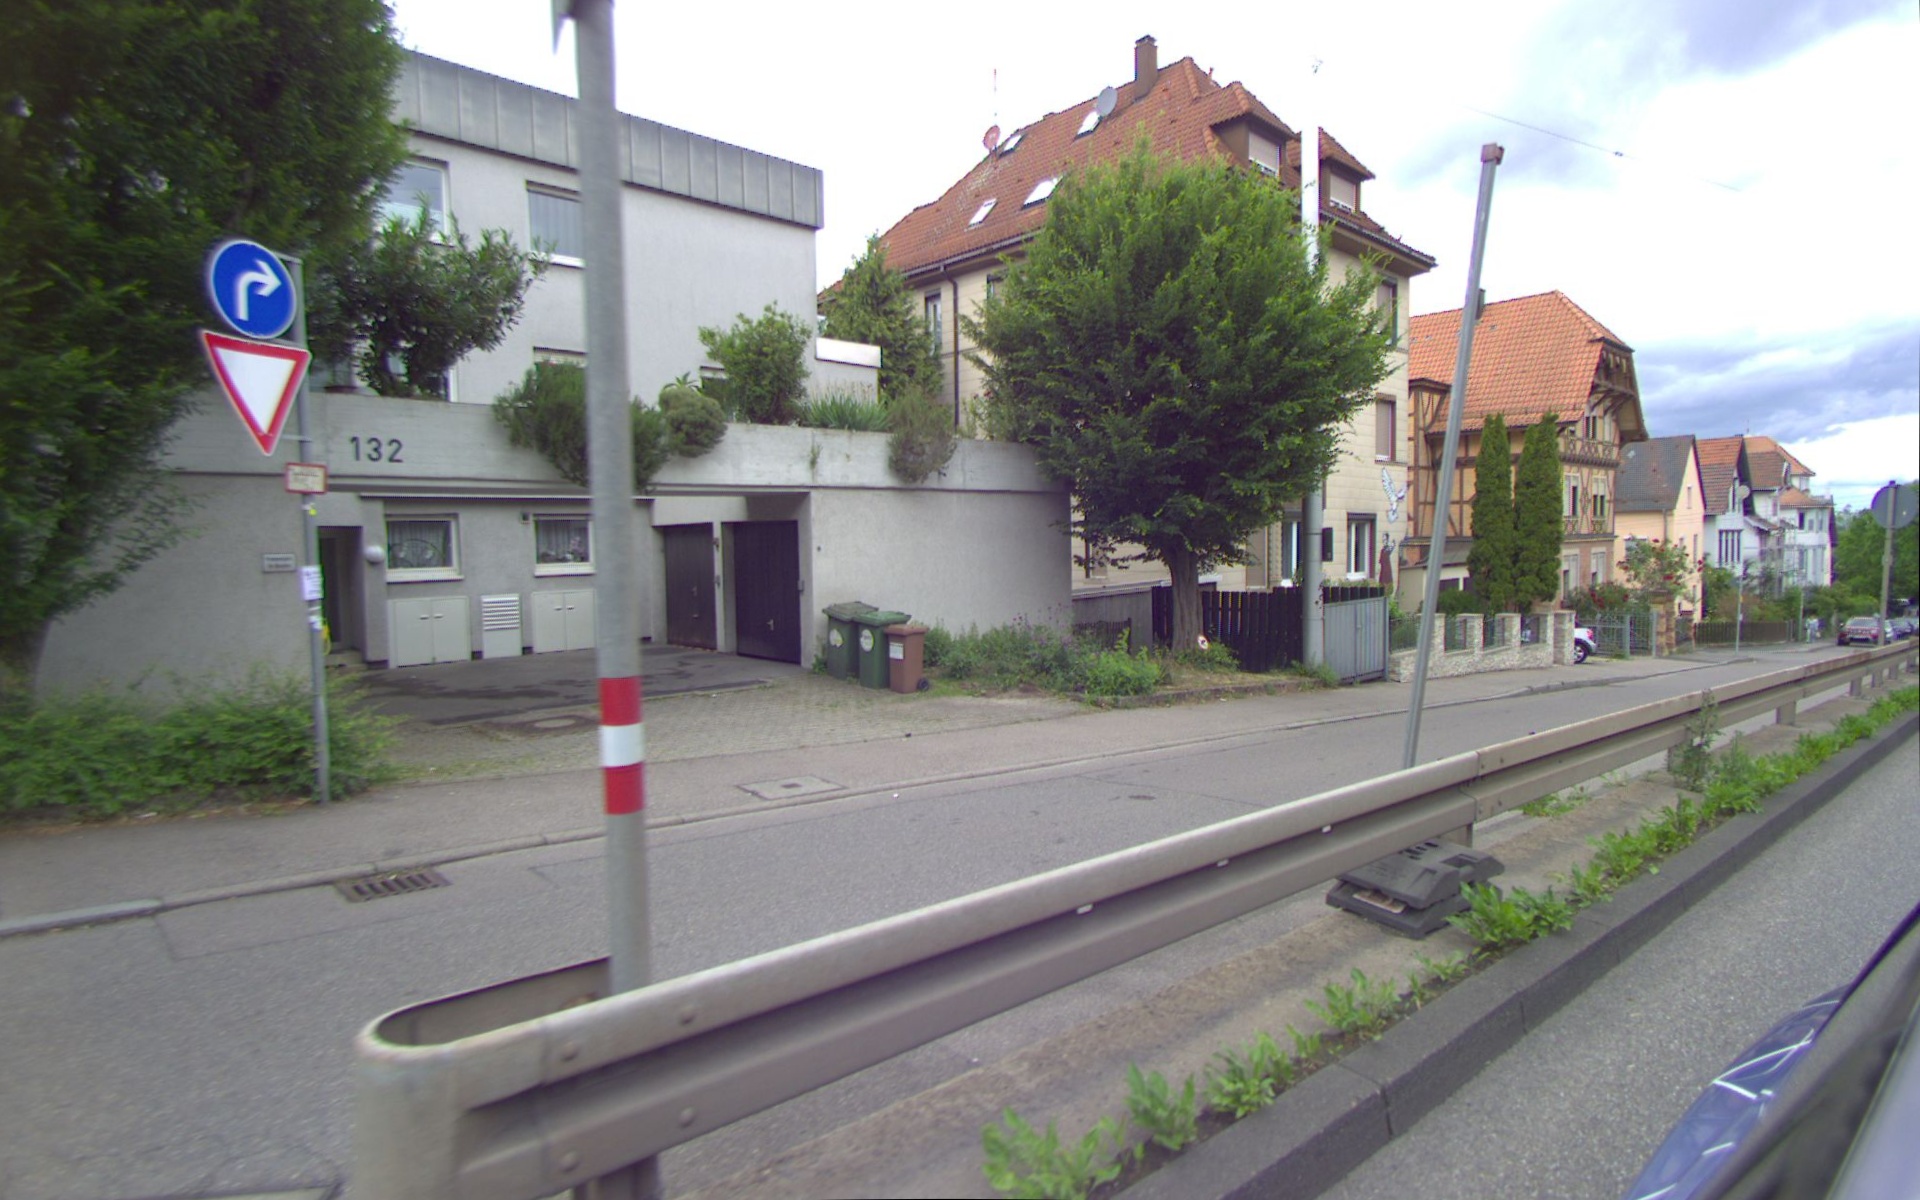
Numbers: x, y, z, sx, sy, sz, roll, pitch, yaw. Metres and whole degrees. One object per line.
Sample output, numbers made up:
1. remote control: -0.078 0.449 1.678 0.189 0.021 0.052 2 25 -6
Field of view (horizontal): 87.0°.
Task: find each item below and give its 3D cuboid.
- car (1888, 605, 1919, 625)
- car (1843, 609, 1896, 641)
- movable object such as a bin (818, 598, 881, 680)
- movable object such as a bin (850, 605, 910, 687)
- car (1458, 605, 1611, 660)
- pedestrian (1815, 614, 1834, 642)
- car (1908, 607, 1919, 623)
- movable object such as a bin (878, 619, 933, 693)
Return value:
1. car: 68.988 1.099 73.678 3.933 1.379 1.848 0 1 -44
2. car: 50.567 1.345 56.245 3.933 1.672 1.920 0 0 -44
3. movable object such as a bin: -1.619 0.553 14.784 0.644 1.092 0.543 1 7 -42
4. movable object such as a bin: -1.146 0.641 14.397 0.551 1.066 0.543 1 7 -42
5. car: 16.879 0.969 29.885 3.765 1.423 1.530 -4 -3 30
6. pedestrian: 47.001 1.493 55.044 0.683 1.489 0.712 1 0 -43
7. car: 84.440 1.313 88.674 3.933 1.379 1.848 0 0 -44
8. movable object such as a bin: -0.753 0.758 13.986 0.551 0.951 0.453 1 4 -42
